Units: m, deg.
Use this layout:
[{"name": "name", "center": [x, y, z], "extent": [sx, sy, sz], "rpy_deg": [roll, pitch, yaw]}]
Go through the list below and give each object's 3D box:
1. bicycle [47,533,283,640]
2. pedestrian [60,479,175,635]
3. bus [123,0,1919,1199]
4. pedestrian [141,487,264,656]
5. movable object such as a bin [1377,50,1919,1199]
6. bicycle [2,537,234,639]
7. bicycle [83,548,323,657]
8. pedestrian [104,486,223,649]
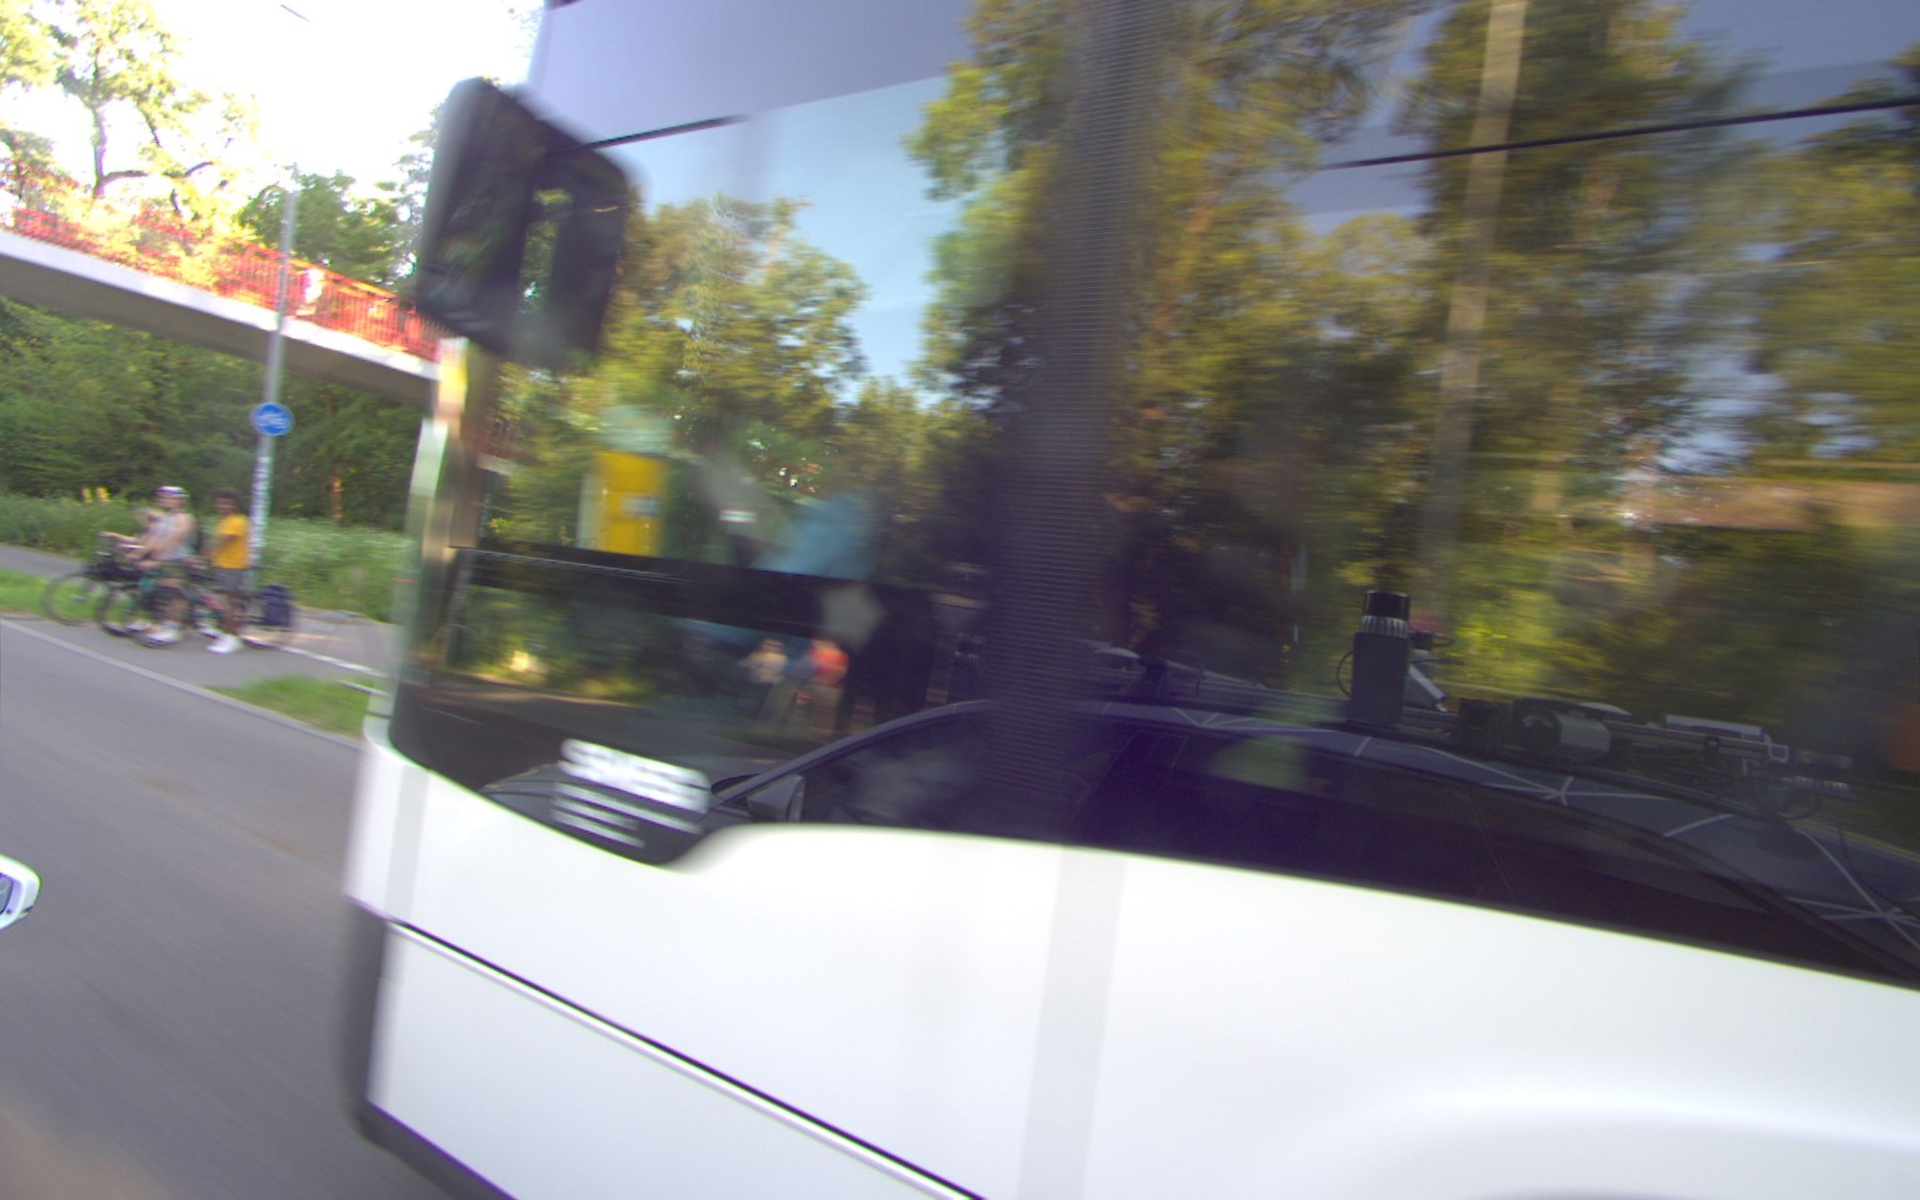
[{"name": "bicycle", "center": [-9.814, -0.127, 12.524], "extent": [0.855, 1.081, 2.066], "rpy_deg": [7, 0, 28]}, {"name": "pedestrian", "center": [-10.831, -0.546, 12.943], "extent": [0.922, 1.875, 0.700], "rpy_deg": [7, 1, 28]}, {"name": "bus", "center": [4.333, 0.411, 0.200], "extent": [12.070, 3.261, 2.709], "rpy_deg": [7, 0, 30]}, {"name": "pedestrian", "center": [-9.018, -0.327, 11.986], "extent": [0.922, 1.875, 0.700], "rpy_deg": [7, 1, 28]}, {"name": "movable object such as a bin", "center": [5.506, 0.516, 2.853], "extent": [7.467, 3.412, 2.764], "rpy_deg": [7, 0, 28]}, {"name": "bicycle", "center": [-10.825, -0.120, 13.033], "extent": [0.855, 1.081, 2.066], "rpy_deg": [7, 0, 28]}, {"name": "bicycle", "center": [-9.001, 0.073, 12.079], "extent": [0.855, 1.081, 2.066], "rpy_deg": [7, 0, 28]}, {"name": "pedestrian", "center": [-9.857, -0.398, 12.460], "extent": [0.922, 1.875, 0.700], "rpy_deg": [7, 1, 28]}]
